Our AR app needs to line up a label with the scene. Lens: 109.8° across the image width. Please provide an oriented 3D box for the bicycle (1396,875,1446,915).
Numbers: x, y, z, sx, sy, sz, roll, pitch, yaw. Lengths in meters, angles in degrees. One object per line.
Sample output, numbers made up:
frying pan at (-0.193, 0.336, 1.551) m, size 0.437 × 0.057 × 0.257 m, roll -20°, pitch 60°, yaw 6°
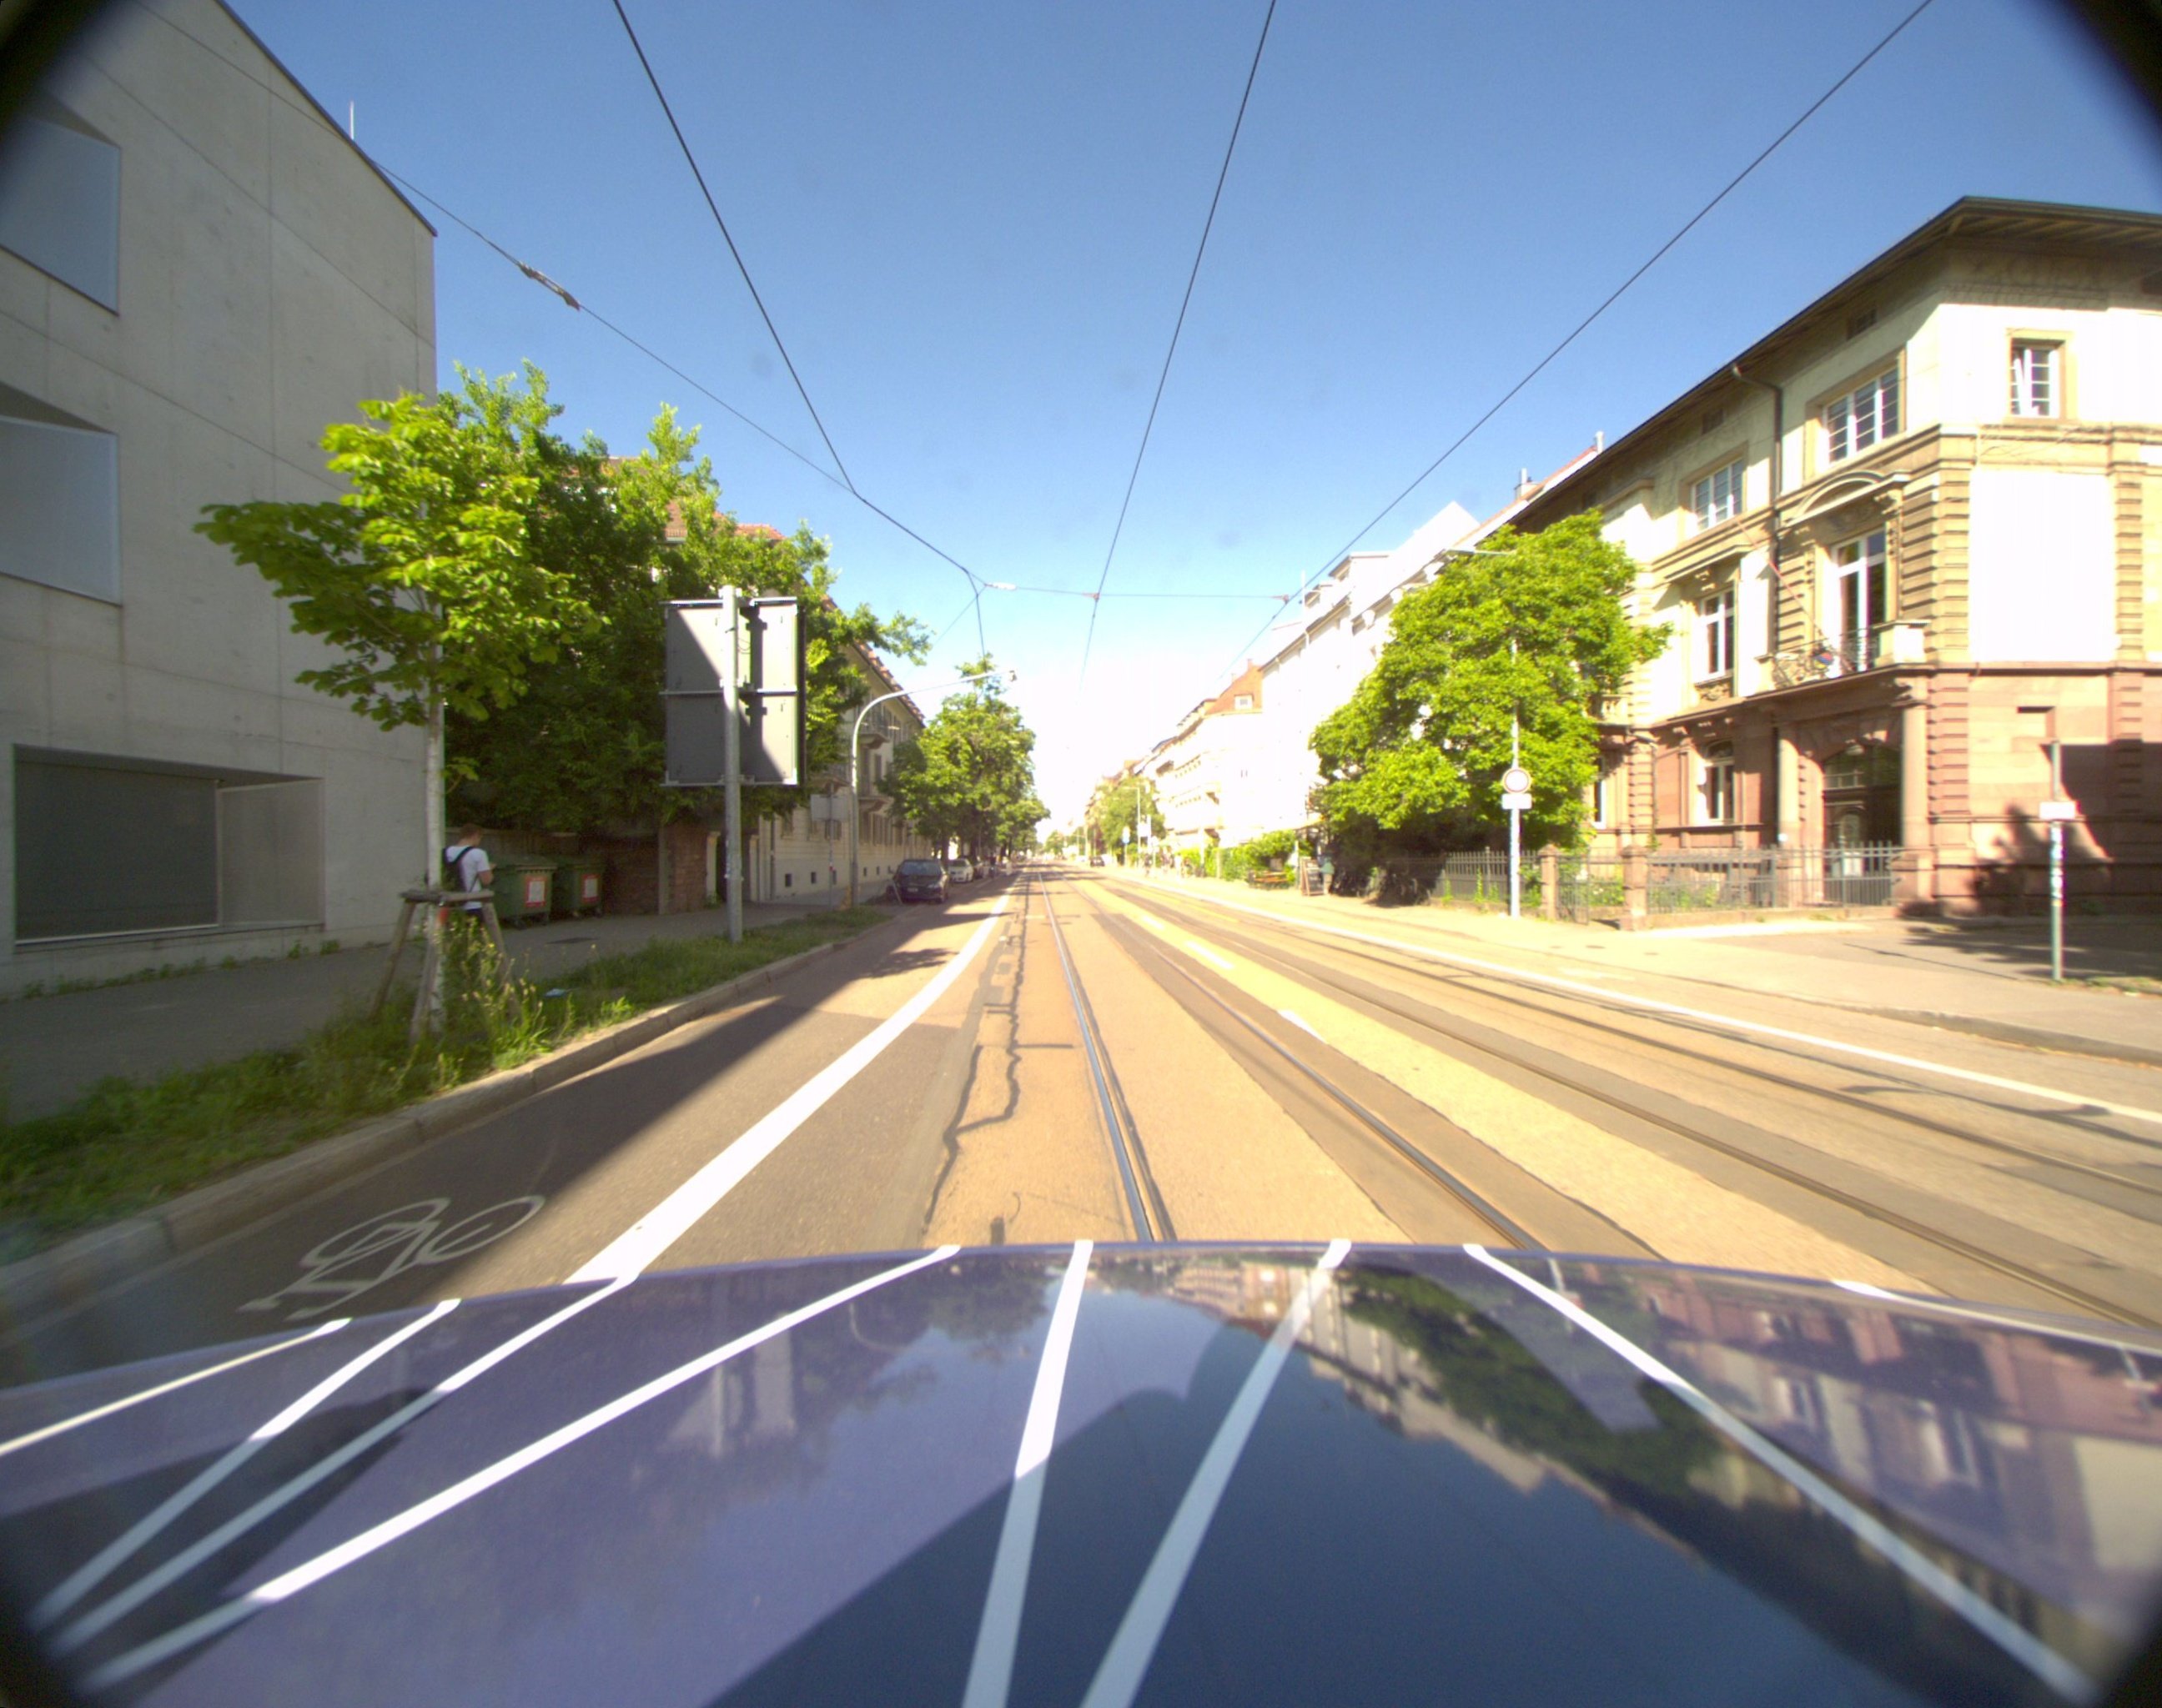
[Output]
bicycle at (9.861, 1.179, 22.118) m, size 0.591 × 1.039 × 1.905 m, roll -2°, pitch 0°, yaw 0°

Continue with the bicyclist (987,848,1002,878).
bicyclist at (-5.114, 0.548, 45.140) m, size 0.763 × 1.728 × 1.046 m, roll -2°, pitch 1°, yaw -4°

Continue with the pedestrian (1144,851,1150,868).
pedestrian at (6.743, 0.551, 77.553) m, size 0.558 × 1.771 × 0.538 m, roll -1°, pitch 1°, yaw -6°

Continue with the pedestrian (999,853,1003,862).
pedestrian at (-17.489, 0.693, 165.822) m, size 0.744 × 2.002 × 0.687 m, roll 0°, pitch 1°, yaw -11°

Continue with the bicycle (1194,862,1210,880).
bicycle at (8.084, 1.124, 50.989) m, size 0.663 × 1.083 × 1.839 m, roll -3°, pitch 1°, yaw -3°

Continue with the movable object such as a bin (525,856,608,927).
movable object such as a bin at (-11.205, 0.787, 16.600) m, size 0.936 × 1.455 × 1.331 m, roll -1°, pitch 1°, yaw -4°

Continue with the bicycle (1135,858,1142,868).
bicycle at (6.260, 1.009, 82.884) m, size 0.515 × 1.032 × 2.222 m, roll 0°, pitch 0°, yaw -3°

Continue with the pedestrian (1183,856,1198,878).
pedestrian at (7.561, 0.899, 52.511) m, size 0.757 × 1.469 × 0.956 m, roll -2°, pitch 1°, yaw -3°

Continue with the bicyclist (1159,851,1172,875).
bicyclist at (6.707, 0.688, 60.166) m, size 0.705 × 1.843 × 0.987 m, roll 1°, pitch 2°, yaw 24°

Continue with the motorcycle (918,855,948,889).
motorcycle at (-6.836, 0.824, 35.249) m, size 0.916 × 1.480 × 2.679 m, roll 2°, pitch 0°, yaw -2°

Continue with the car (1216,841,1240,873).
car at (13.789, 0.230, 71.116) m, size 1.889 × 2.825 × 4.787 m, roll 0°, pitch 2°, yaw 14°

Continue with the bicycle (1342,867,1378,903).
bicycle at (9.775, 1.076, 26.681) m, size 0.647 × 1.137 × 1.905 m, roll -3°, pitch 0°, yaw 5°

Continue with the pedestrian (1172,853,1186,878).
pedestrian at (6.756, 0.811, 52.467) m, size 0.757 × 1.704 × 0.808 m, roll -2°, pitch 1°, yaw -3°

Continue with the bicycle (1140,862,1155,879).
bicycle at (4.695, 1.158, 53.580) m, size 0.747 × 1.075 × 1.898 m, roll 3°, pitch 0°, yaw -2°

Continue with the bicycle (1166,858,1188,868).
bicycle at (9.781, 0.924, 77.429) m, size 2.244 × 1.038 × 0.876 m, roll 0°, pitch 2°, yaw 6°

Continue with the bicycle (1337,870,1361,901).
bicycle at (9.897, 1.156, 28.097) m, size 0.637 × 1.039 × 2.024 m, roll 0°, pitch 0°, yaw 13°

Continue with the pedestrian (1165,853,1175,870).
pedestrian at (8.850, 0.713, 75.264) m, size 0.705 × 1.645 × 0.834 m, roll 1°, pitch 2°, yaw 28°

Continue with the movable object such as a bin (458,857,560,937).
movable object such as a bin at (-11.024, 0.798, 14.706) m, size 0.936 × 1.455 × 1.355 m, roll 0°, pitch 0°, yaw -2°

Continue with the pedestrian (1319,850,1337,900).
pedestrian at (9.123, 0.753, 28.076) m, size 0.576 × 1.821 × 0.690 m, roll 0°, pitch 1°, yaw 16°

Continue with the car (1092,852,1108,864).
car at (2.596, 0.584, 104.664) m, size 1.870 × 1.567 × 4.587 m, roll 2°, pitch 0°, yaw -3°

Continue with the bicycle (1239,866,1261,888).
bicycle at (8.695, 1.161, 39.064) m, size 0.640 × 1.053 × 1.742 m, roll -3°, pitch 0°, yaw -2°

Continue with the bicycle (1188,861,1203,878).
bicycle at (7.961, 1.069, 52.882) m, size 0.663 × 1.083 × 1.839 m, roll -3°, pitch 1°, yaw -3°

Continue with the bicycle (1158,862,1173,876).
bicycle at (6.703, 1.157, 60.171) m, size 0.705 × 1.049 × 1.838 m, roll 0°, pitch 2°, yaw 24°

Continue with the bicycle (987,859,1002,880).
bicycle at (-5.103, 0.904, 45.078) m, size 0.763 × 1.235 × 2.095 m, roll -2°, pitch 0°, yaw -3°

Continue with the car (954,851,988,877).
car at (-7.395, 0.652, 51.509) m, size 1.815 × 1.616 × 4.582 m, roll 2°, pitch 0°, yaw -3°

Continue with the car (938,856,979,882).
car at (-6.980, 0.812, 43.661) m, size 1.728 × 1.374 × 4.355 m, roll 1°, pitch 0°, yaw -2°

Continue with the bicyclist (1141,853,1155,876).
bicyclist at (4.715, 0.732, 53.576) m, size 0.747 × 1.590 × 1.117 m, roll 3°, pitch 1°, yaw -2°

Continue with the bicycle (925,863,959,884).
bicycle at (-7.162, 0.989, 39.091) m, size 1.624 × 1.037 × 0.685 m, roll 1°, pitch 0°, yaw -2°

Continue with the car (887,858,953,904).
car at (-5.627, 0.890, 26.996) m, size 1.827 × 1.450 × 4.815 m, roll 1°, pitch 0°, yaw -7°

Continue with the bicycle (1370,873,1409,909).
bicycle at (9.843, 1.175, 24.278) m, size 0.591 × 1.039 × 1.905 m, roll -1°, pitch 0°, yaw 5°

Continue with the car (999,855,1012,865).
car at (-10.963, 0.823, 110.457) m, size 1.706 × 1.463 × 4.212 m, roll 1°, pitch 0°, yaw -3°

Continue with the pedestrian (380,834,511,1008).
pedestrian at (-7.103, 0.716, 8.545) m, size 0.686 × 1.839 × 0.955 m, roll 1°, pitch 1°, yaw -4°
